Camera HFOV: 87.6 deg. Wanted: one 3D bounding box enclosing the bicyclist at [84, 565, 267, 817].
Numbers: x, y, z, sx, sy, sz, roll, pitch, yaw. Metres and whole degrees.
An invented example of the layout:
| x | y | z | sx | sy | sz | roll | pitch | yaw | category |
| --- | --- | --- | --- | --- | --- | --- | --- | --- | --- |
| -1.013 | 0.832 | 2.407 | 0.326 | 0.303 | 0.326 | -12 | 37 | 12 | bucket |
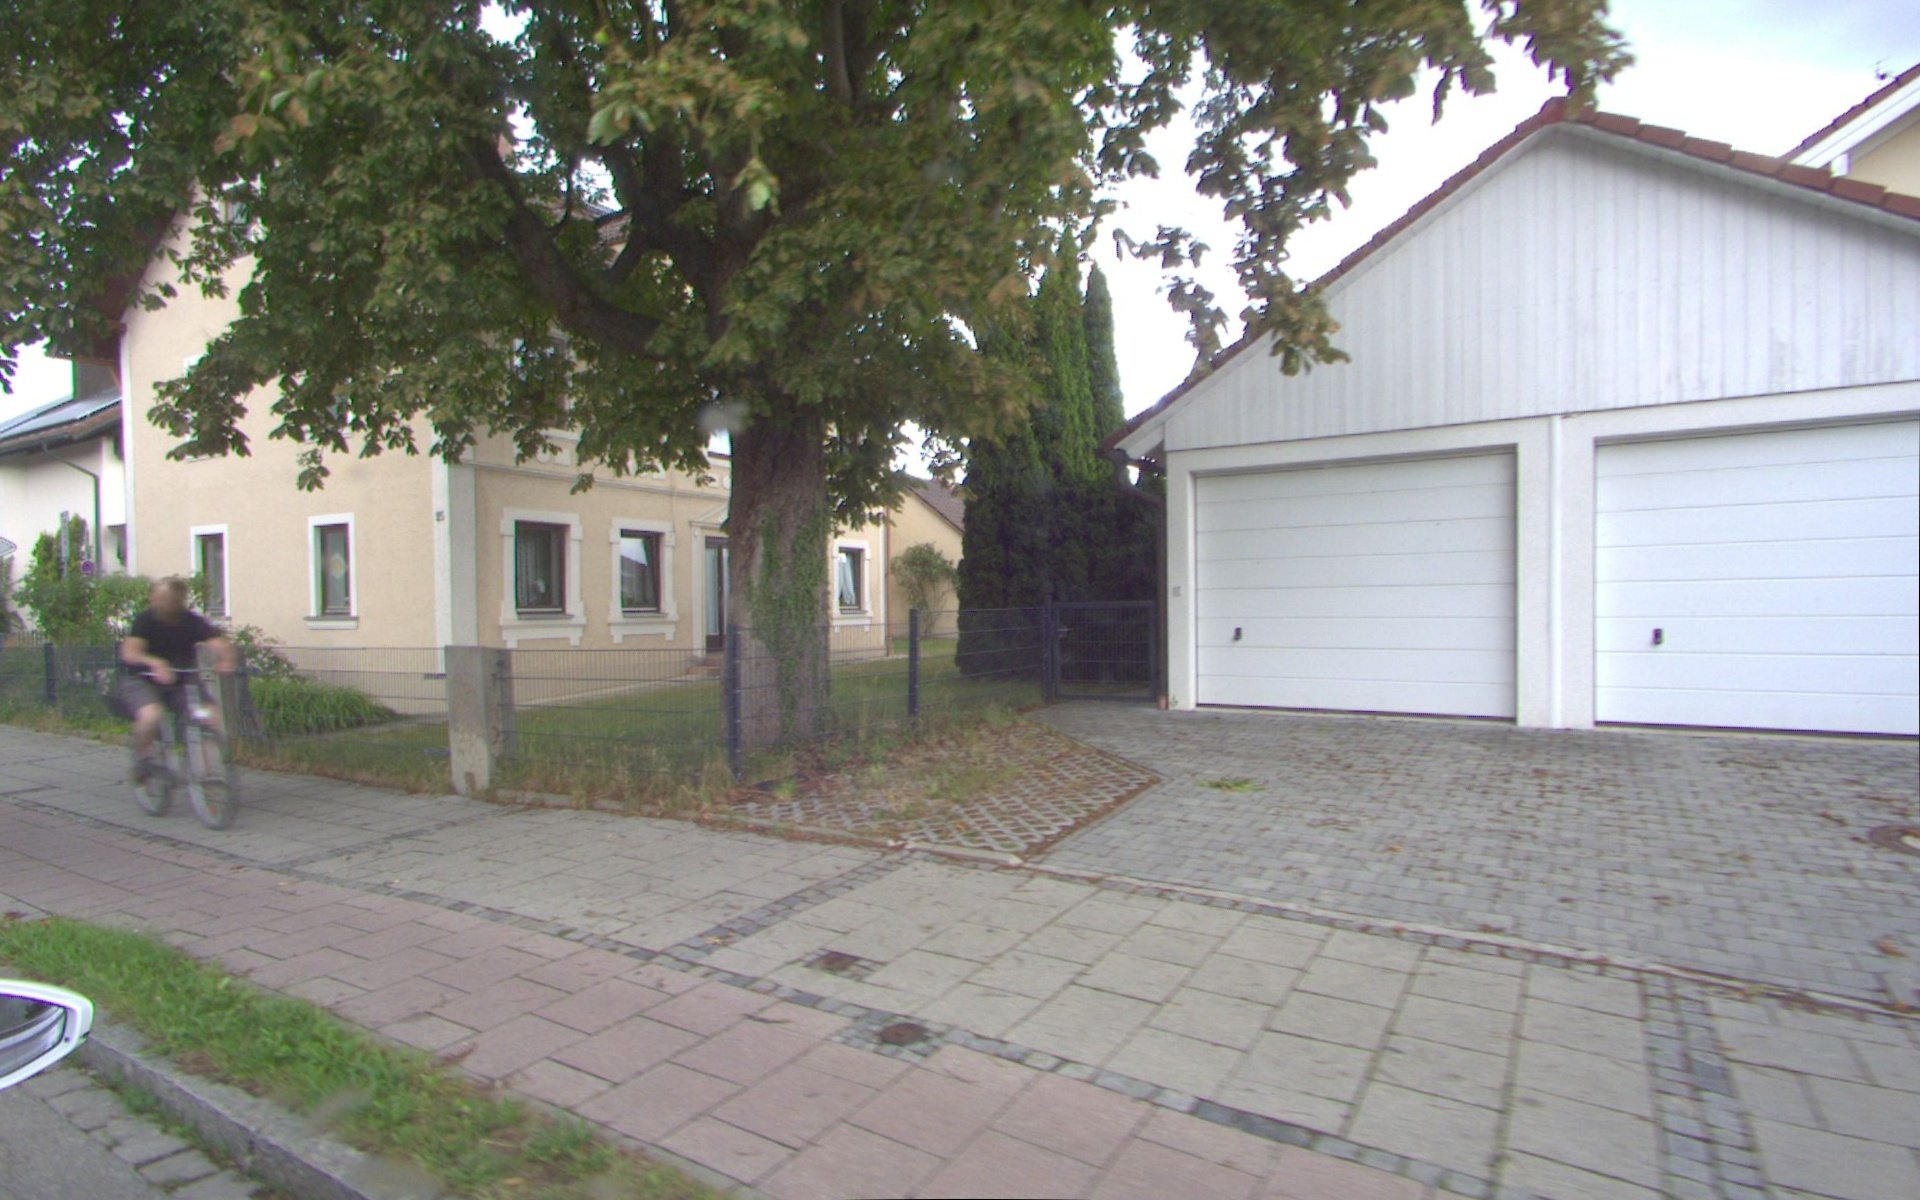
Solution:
| x | y | z | sx | sy | sz | roll | pitch | yaw | category |
| --- | --- | --- | --- | --- | --- | --- | --- | --- | --- |
| -5.551 | 0.595 | 7.096 | 0.878 | 1.655 | 0.734 | 0 | 2 | 34 | bicyclist |

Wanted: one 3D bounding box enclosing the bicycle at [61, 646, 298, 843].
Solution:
| x | y | z | sx | sy | sz | roll | pitch | yaw | category |
| --- | --- | --- | --- | --- | --- | --- | --- | --- | --- |
| -5.543 | 0.944 | 7.085 | 1.820 | 1.159 | 0.762 | -1 | 2 | 34 | bicycle |
